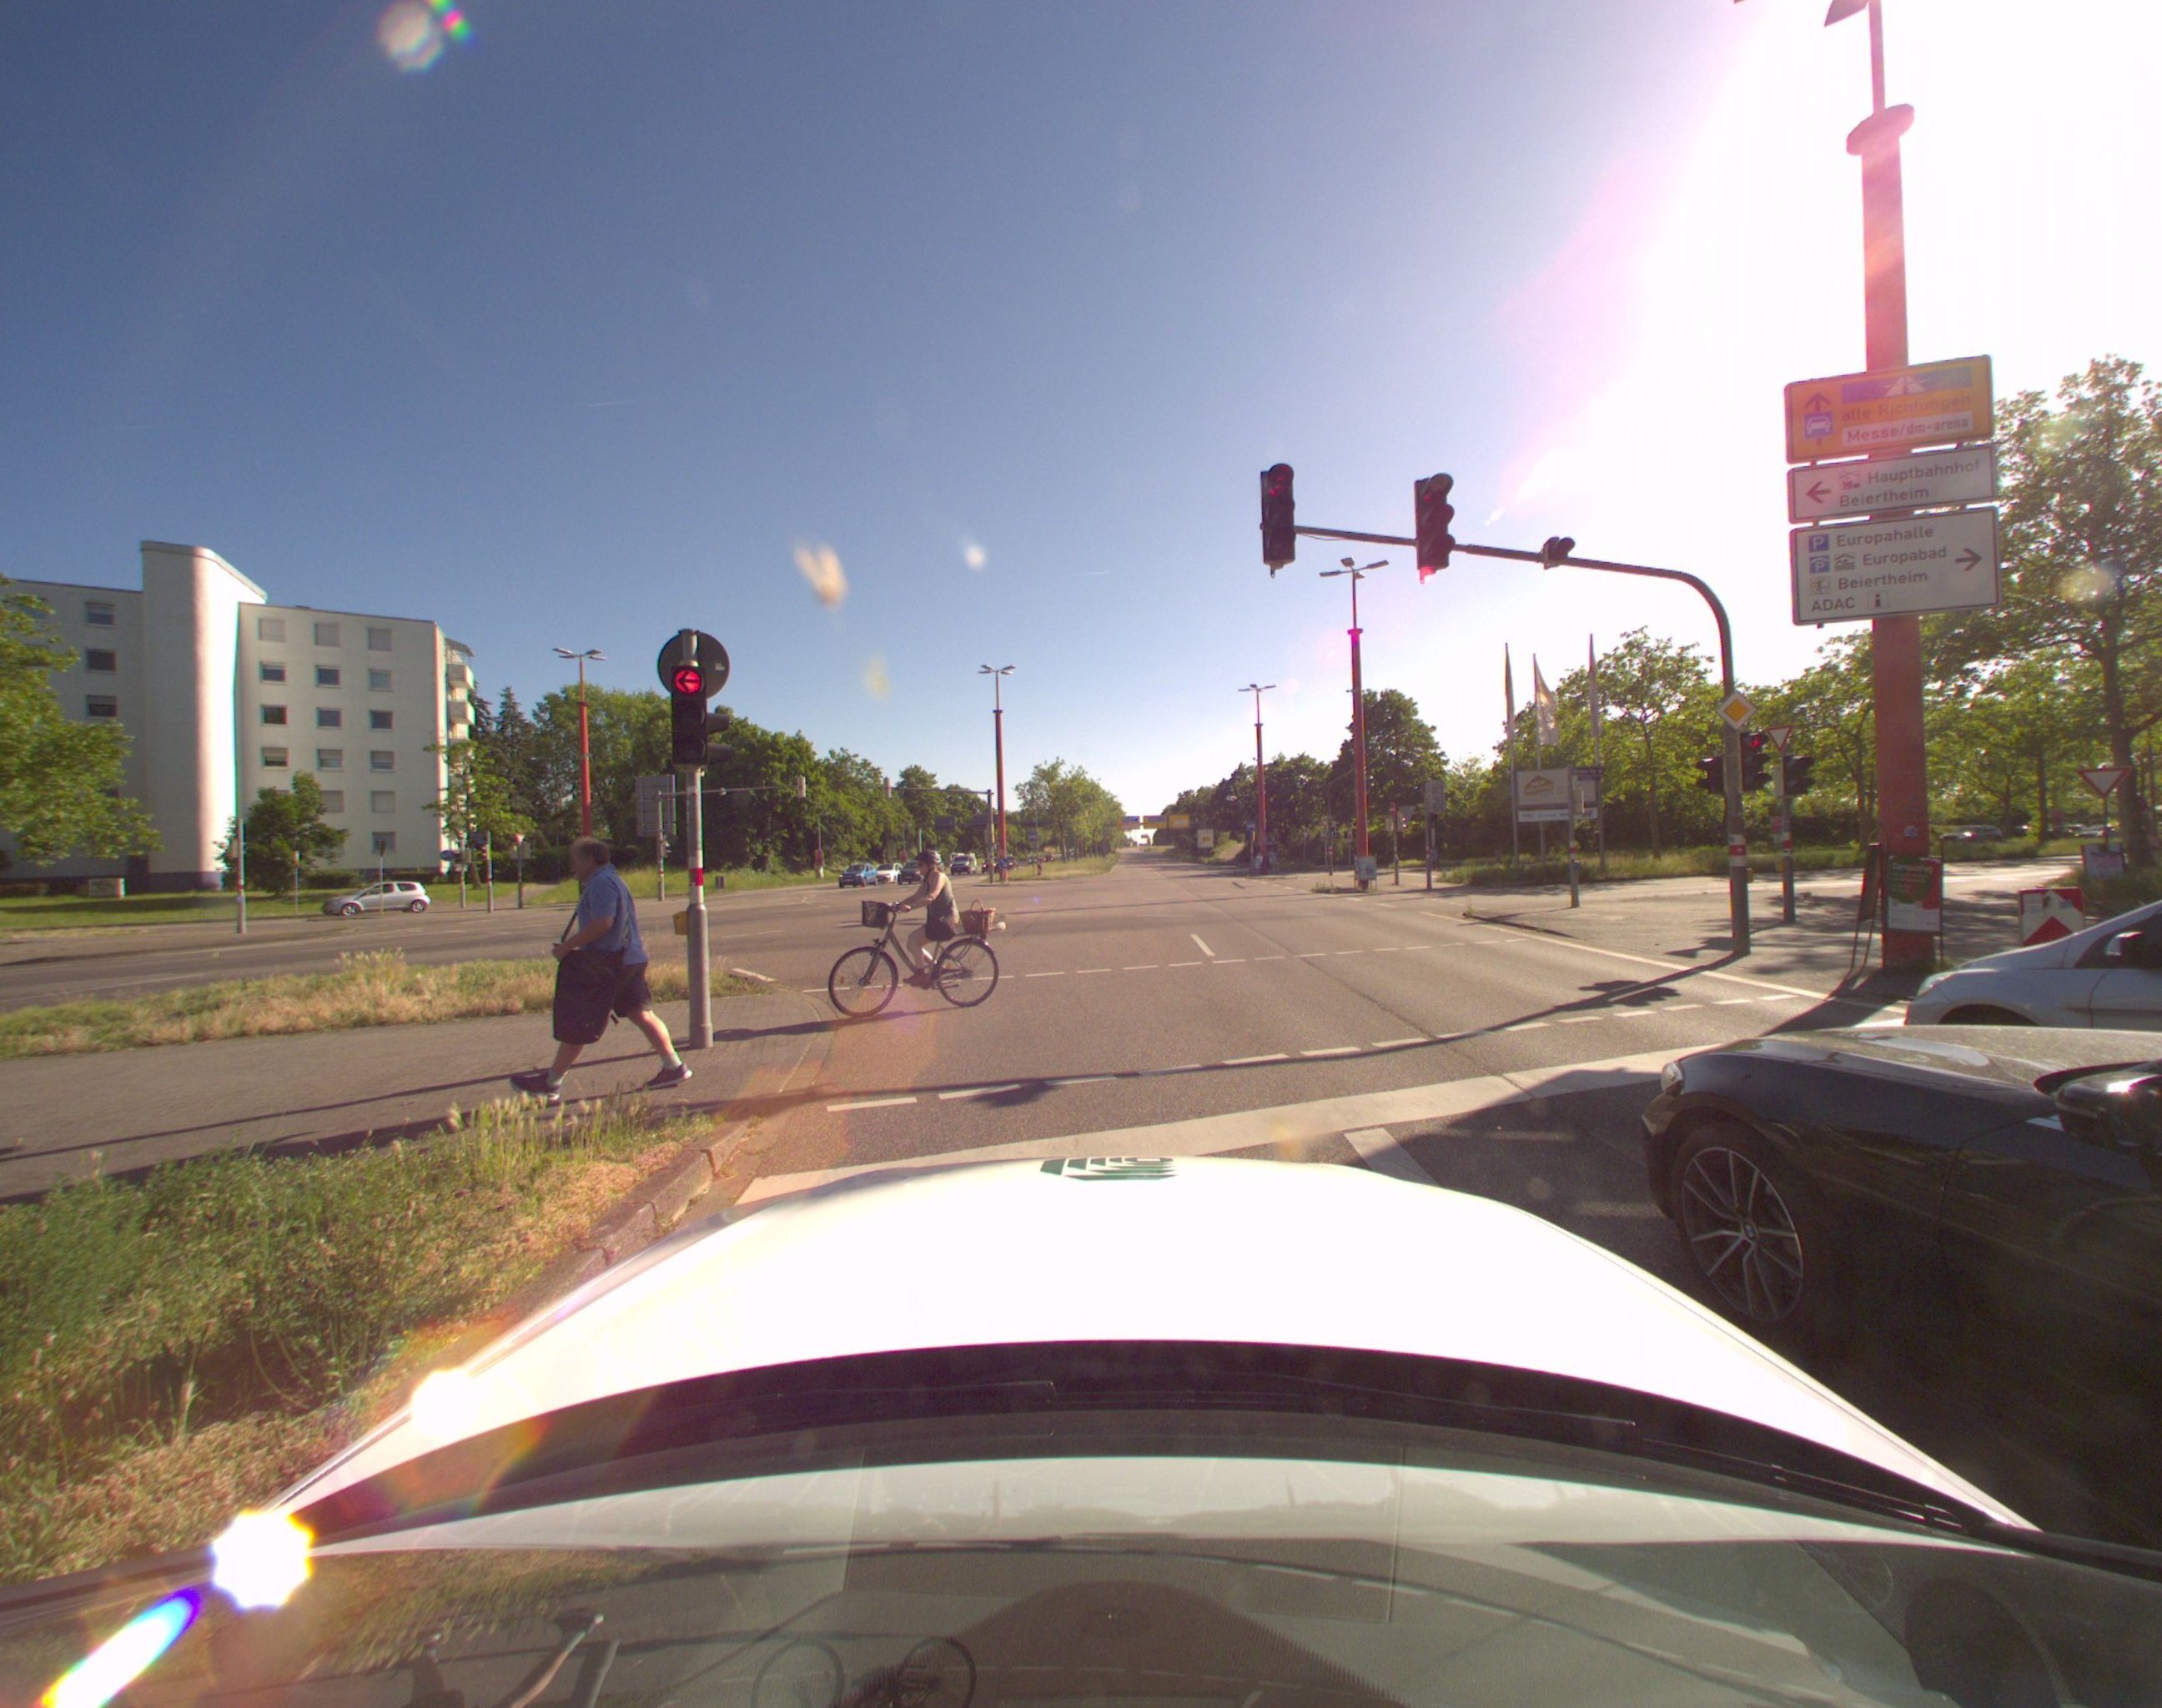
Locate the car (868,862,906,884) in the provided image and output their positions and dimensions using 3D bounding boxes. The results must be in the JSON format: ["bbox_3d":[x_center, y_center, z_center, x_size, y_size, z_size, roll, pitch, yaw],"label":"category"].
[{"bbox_3d":[-13.666,1.318,57.533,1.733,1.411,3.613,-2,0,1],"label":"car"}]

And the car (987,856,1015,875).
[{"bbox_3d":[-6.980,0.988,71.357,1.812,1.508,4.002,-2,0,2],"label":"car"}]

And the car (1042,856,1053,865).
[{"bbox_3d":[-6.394,1.229,157.490,1.812,1.629,4.002,-2,0,2],"label":"car"}]

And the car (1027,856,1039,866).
[{"bbox_3d":[-8.599,1.286,145.908,1.791,1.640,4.000,-1,0,1],"label":"car"}]

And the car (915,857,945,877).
[{"bbox_3d":[-12.938,1.132,69.998,1.733,1.612,3.613,-2,0,1],"label":"car"}]

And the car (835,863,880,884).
[{"bbox_3d":[-14.083,1.211,51.423,1.733,1.243,3.613,-2,0,1],"label":"car"}]

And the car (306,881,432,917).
[{"bbox_3d":[-32.224,1.994,36.951,1.734,1.398,4.025,-2,0,39],"label":"car"}]

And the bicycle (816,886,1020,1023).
[{"bbox_3d":[-1.683,0.985,8.477,1.952,1.195,0.686,-2,0,-26],"label":"bicycle"}]

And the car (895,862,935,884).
[{"bbox_3d":[-10.599,1.188,52.311,1.733,1.243,3.613,-2,0,1],"label":"car"}]

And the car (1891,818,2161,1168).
[{"bbox_3d":[5.678,0.598,2.867,1.732,1.578,4.032,-2,0,3],"label":"car"}]

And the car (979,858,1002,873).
[{"bbox_3d":[-8.886,1.099,80.122,1.733,1.362,3.613,-2,0,1],"label":"car"}]

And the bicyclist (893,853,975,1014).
[{"bbox_3d":[-1.550,0.791,8.547,0.664,1.584,0.667,-2,0,-26],"label":"bicyclist"}]

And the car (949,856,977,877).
[{"bbox_3d":[-11.923,1.225,82.545,1.886,2.026,5.224,-2,0,1],"label":"car"}]

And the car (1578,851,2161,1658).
[{"bbox_3d":[2.826,0.715,1.007,1.862,1.398,4.446,-2,0,3],"label":"car"}]

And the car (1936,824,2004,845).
[{"bbox_3d":[69.615,-1.533,63.814,4.322,1.485,1.776,-2,0,-15],"label":"car"}]

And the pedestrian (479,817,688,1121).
[{"bbox_3d":[-3.249,0.678,5.448,0.988,1.794,0.948,-1,0,-20],"label":"pedestrian"}]

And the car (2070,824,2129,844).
[{"bbox_3d":[84.665,-1.655,67.684,3.991,1.467,1.674,-2,0,-17],"label":"car"}]
